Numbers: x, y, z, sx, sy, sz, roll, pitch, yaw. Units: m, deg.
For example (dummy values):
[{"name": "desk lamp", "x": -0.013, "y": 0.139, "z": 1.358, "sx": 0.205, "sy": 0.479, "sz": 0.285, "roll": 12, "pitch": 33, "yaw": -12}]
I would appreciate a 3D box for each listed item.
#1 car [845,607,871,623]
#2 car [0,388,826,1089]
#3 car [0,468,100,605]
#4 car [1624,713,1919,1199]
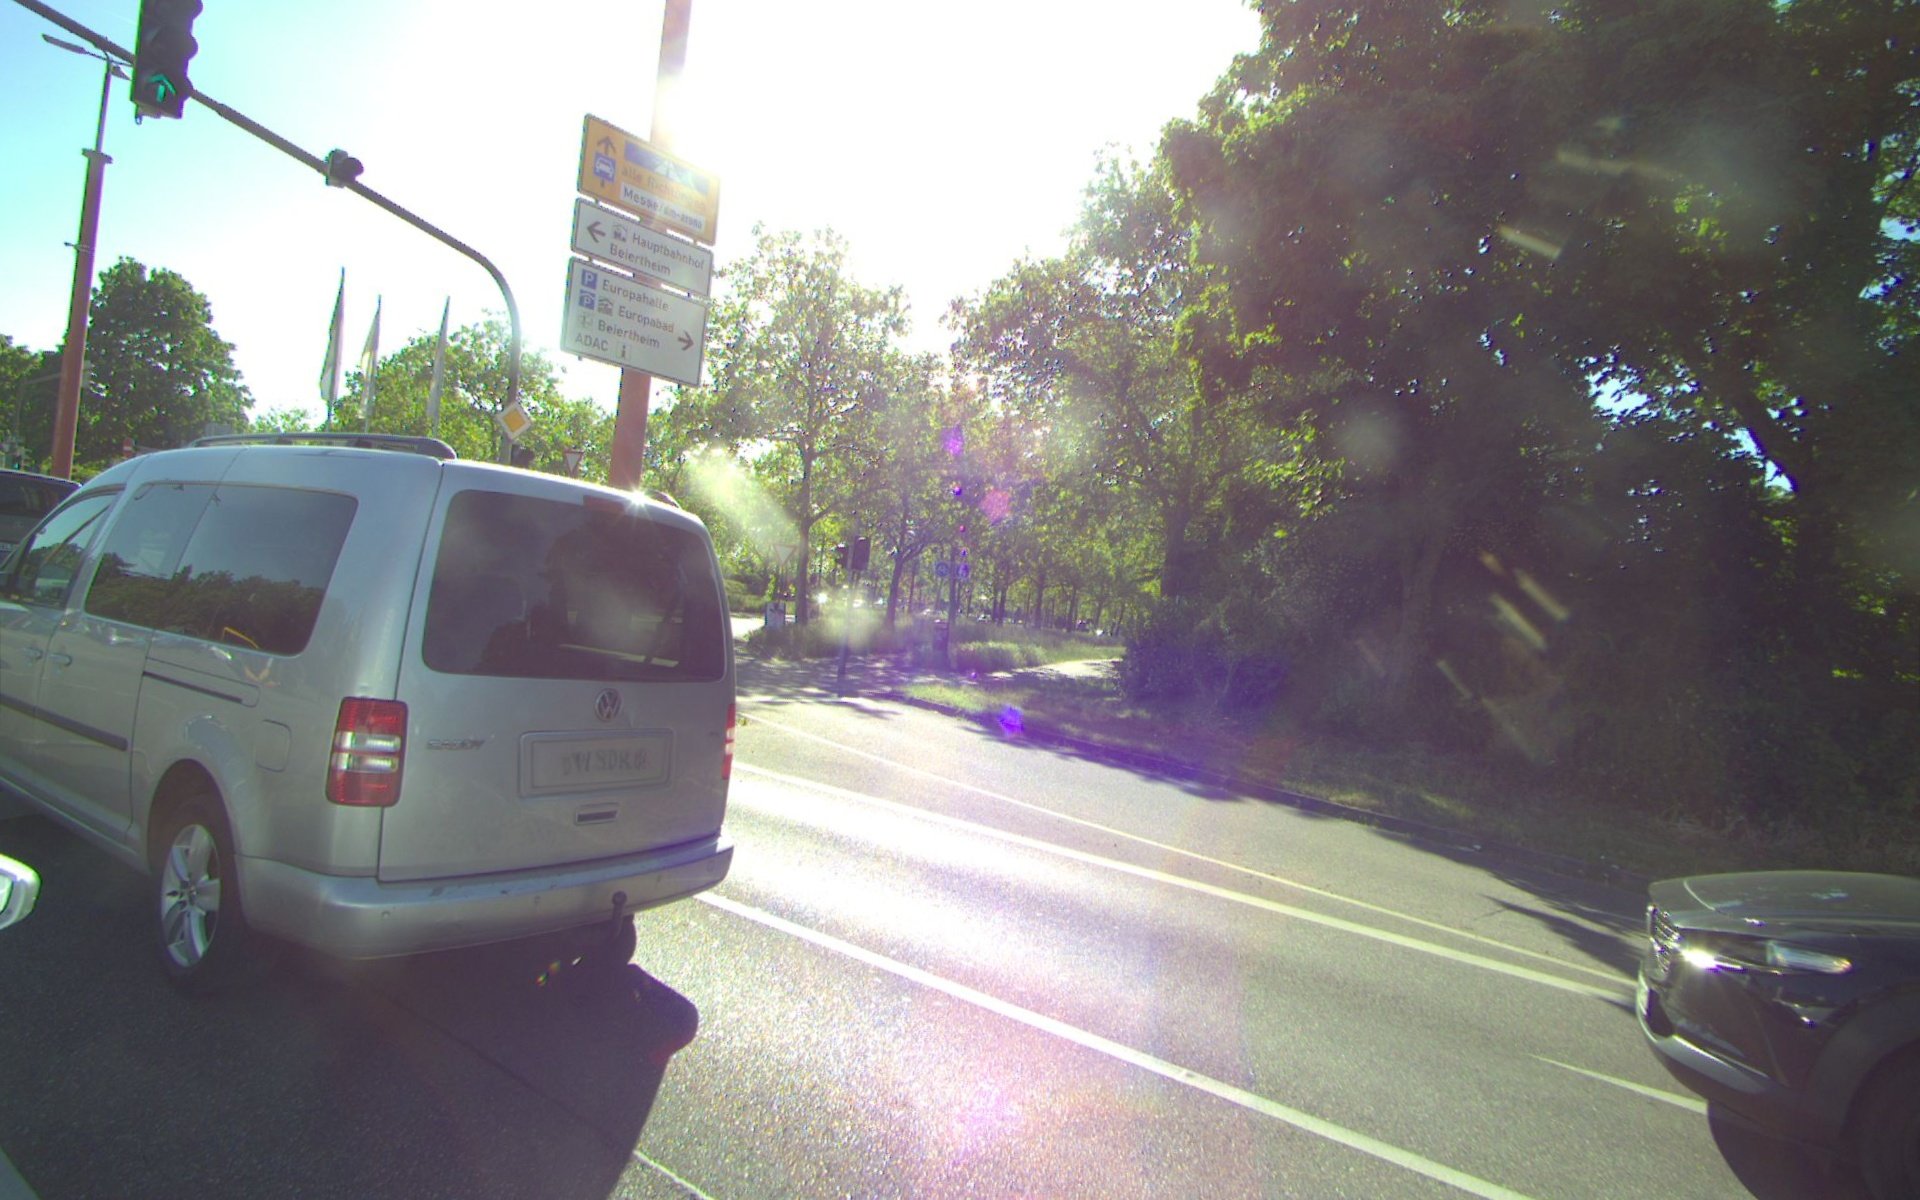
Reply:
[{"name": "car", "x": -12.013, "y": 1.797, "z": 118.853, "sx": 1.831, "sy": 1.534, "sz": 4.143, "roll": 7, "pitch": -2, "yaw": 10}, {"name": "car", "x": -3.015, "y": 0.245, "z": 4.630, "sx": 4.513, "sy": 1.843, "sz": 1.807, "roll": 6, "pitch": -1, "yaw": 33}, {"name": "car", "x": -15.740, "y": -1.174, "z": 15.868, "sx": 5.019, "sy": 1.875, "sz": 1.806, "roll": 7, "pitch": 0, "yaw": 32}, {"name": "car", "x": 4.554, "y": 1.411, "z": 2.964, "sx": 4.157, "sy": 1.525, "sz": 1.771, "roll": 6, "pitch": -2, "yaw": 33}]
